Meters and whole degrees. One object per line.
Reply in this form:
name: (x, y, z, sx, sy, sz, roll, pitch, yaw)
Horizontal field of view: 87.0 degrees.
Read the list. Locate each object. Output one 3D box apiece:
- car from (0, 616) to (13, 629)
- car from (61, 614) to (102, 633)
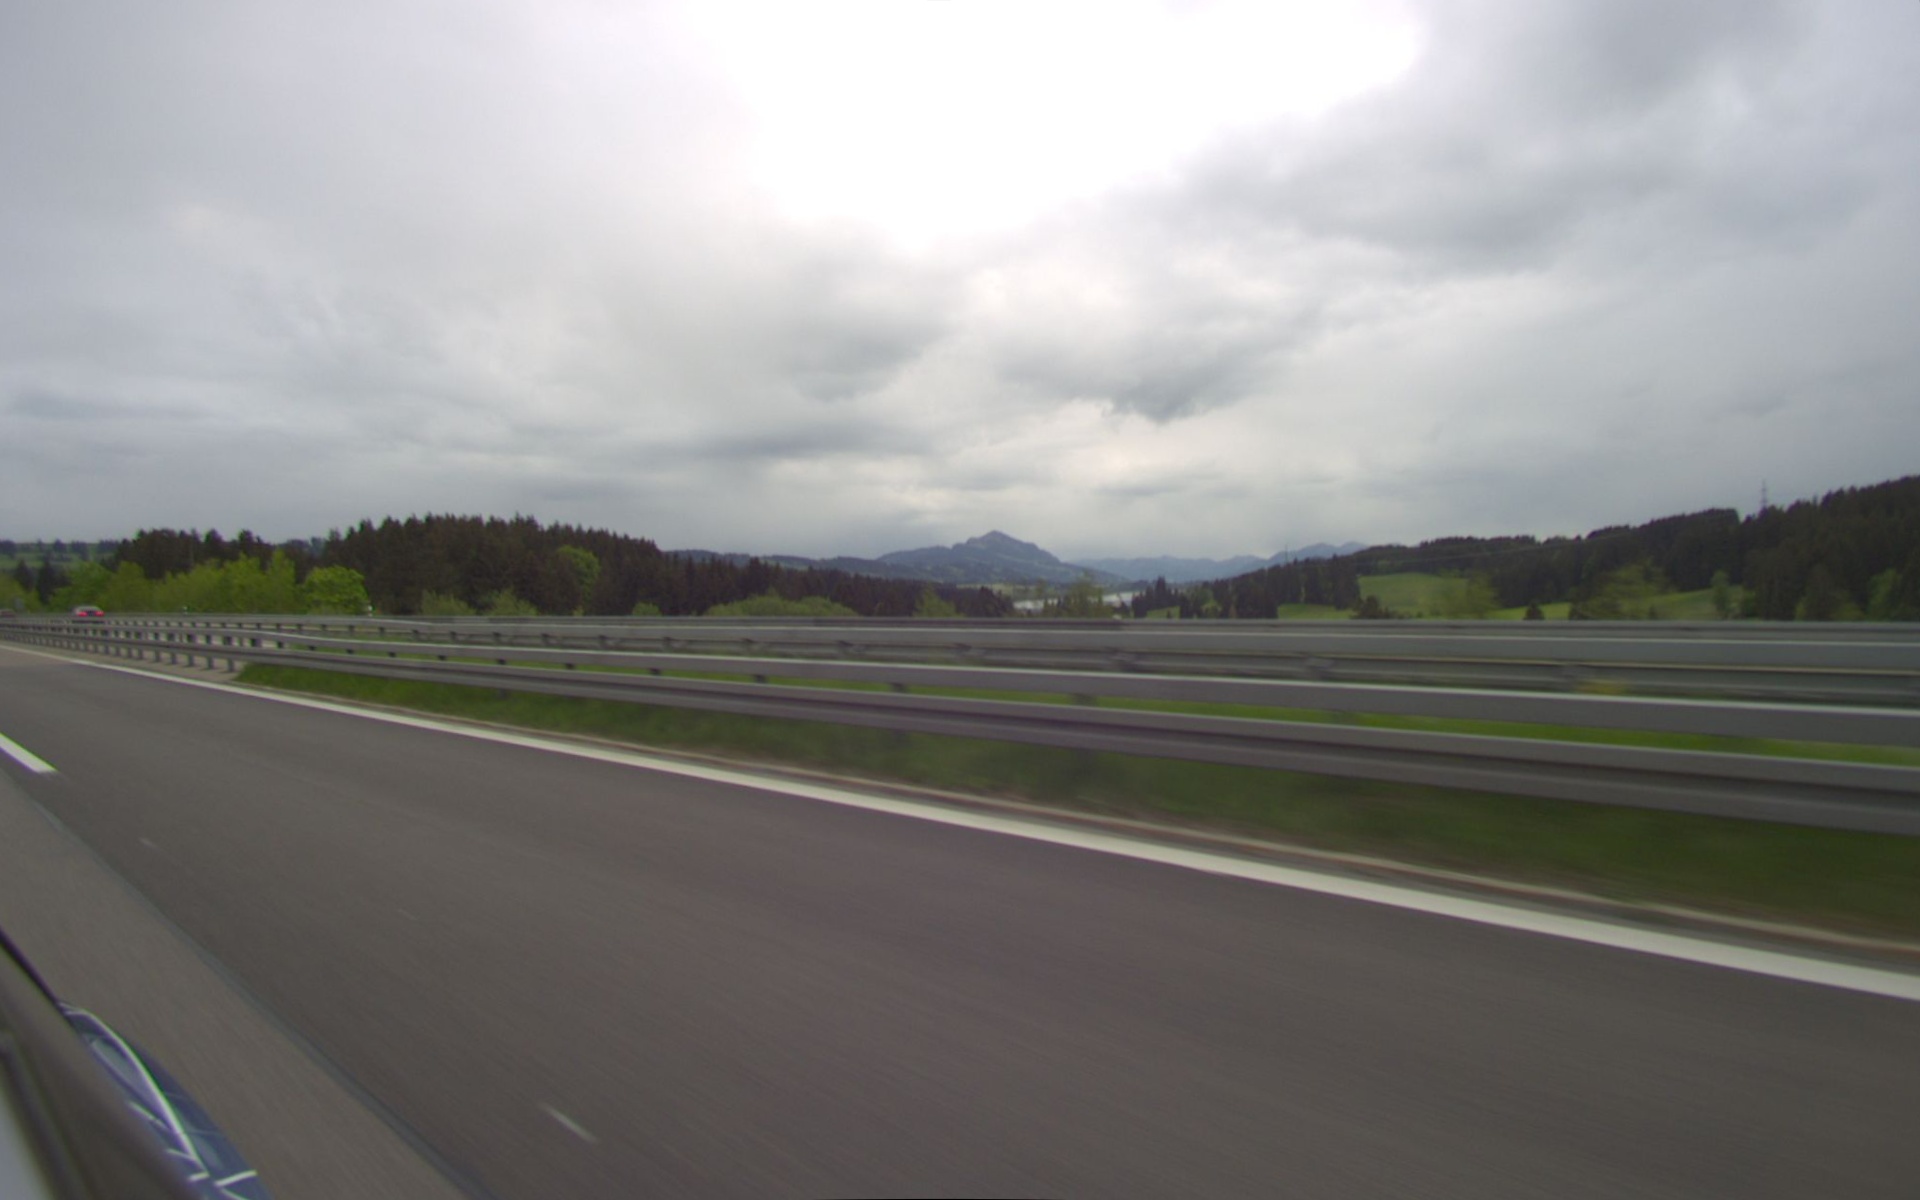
car: (-121.971, 2.901, 128.608, 4.227, 1.624, 1.880, -1, 1, 41)
car: (-76.670, 2.026, 88.301, 4.844, 1.629, 1.973, -1, 0, 40)
